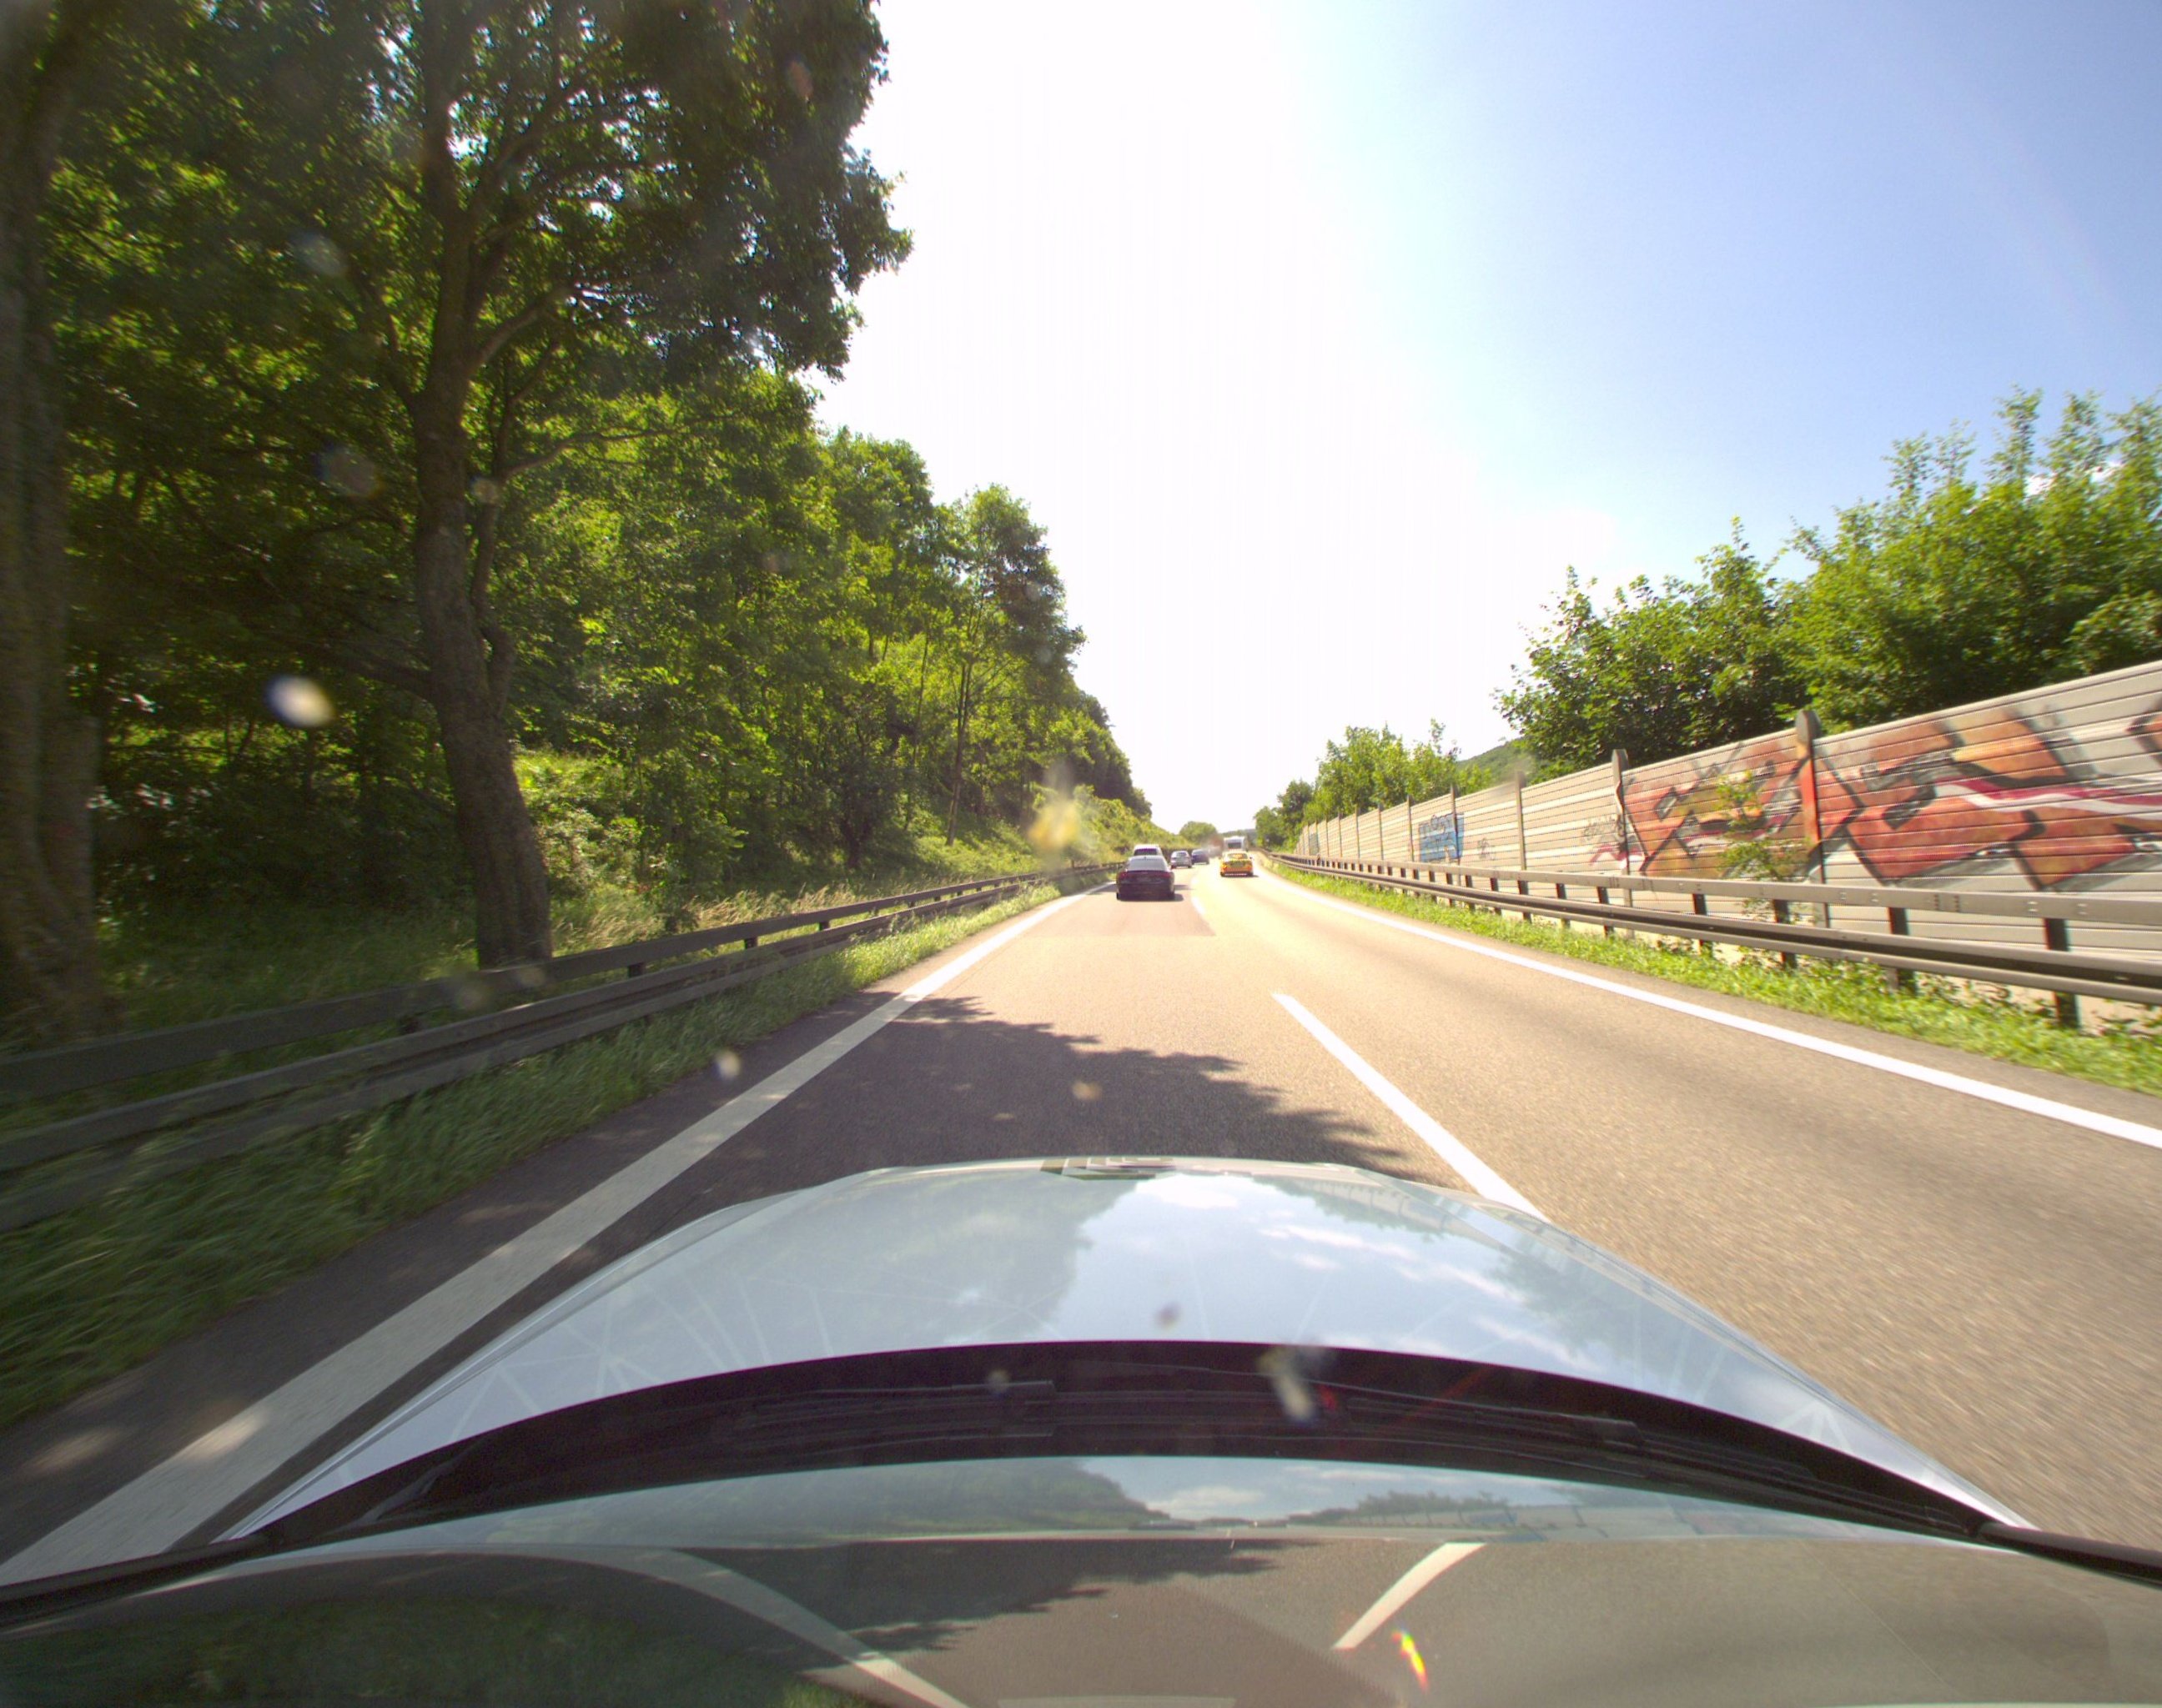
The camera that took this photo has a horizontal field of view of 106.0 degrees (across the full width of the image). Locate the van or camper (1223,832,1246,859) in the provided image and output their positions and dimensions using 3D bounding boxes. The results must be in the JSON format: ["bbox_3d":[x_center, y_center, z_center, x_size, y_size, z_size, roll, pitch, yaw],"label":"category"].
[{"bbox_3d":[17.498,-0.872,93.233,2.441,2.918,6.142,-1,-1,10],"label":"van or camper"}]

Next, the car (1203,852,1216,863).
[{"bbox_3d":[20.351,0.545,128.891,1.829,1.717,4.012,-1,-1,11],"label":"car"}]

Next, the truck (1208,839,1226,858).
[{"bbox_3d":[23.694,-0.967,141.547,2.823,3.131,7.502,-2,0,11],"label":"truck"}]

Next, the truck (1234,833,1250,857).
[{"bbox_3d":[29.853,-1.643,150.900,2.715,4.096,7.503,-2,0,11],"label":"truck"}]

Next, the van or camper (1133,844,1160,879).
[{"bbox_3d":[3.636,0.423,44.713,1.385,1.816,4.006,-1,-1,5],"label":"van or camper"}]

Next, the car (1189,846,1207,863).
[{"bbox_3d":[11.814,0.030,82.384,1.764,1.637,4.008,-1,-1,7],"label":"car"}]

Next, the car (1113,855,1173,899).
[{"bbox_3d":[2.076,0.740,27.283,1.829,1.349,4.004,-1,-1,4],"label":"car"}]

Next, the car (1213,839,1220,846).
[{"bbox_3d":[39.348,-3.268,236.800,1.983,2.013,4.008,-2,0,7],"label":"car"}]

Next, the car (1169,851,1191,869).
[{"bbox_3d":[8.376,0.543,68.680,1.737,1.431,4.009,-1,-1,9],"label":"car"}]

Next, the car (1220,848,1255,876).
[{"bbox_3d":[8.966,0.454,46.900,1.851,1.488,4.010,-1,-1,10],"label":"car"}]
